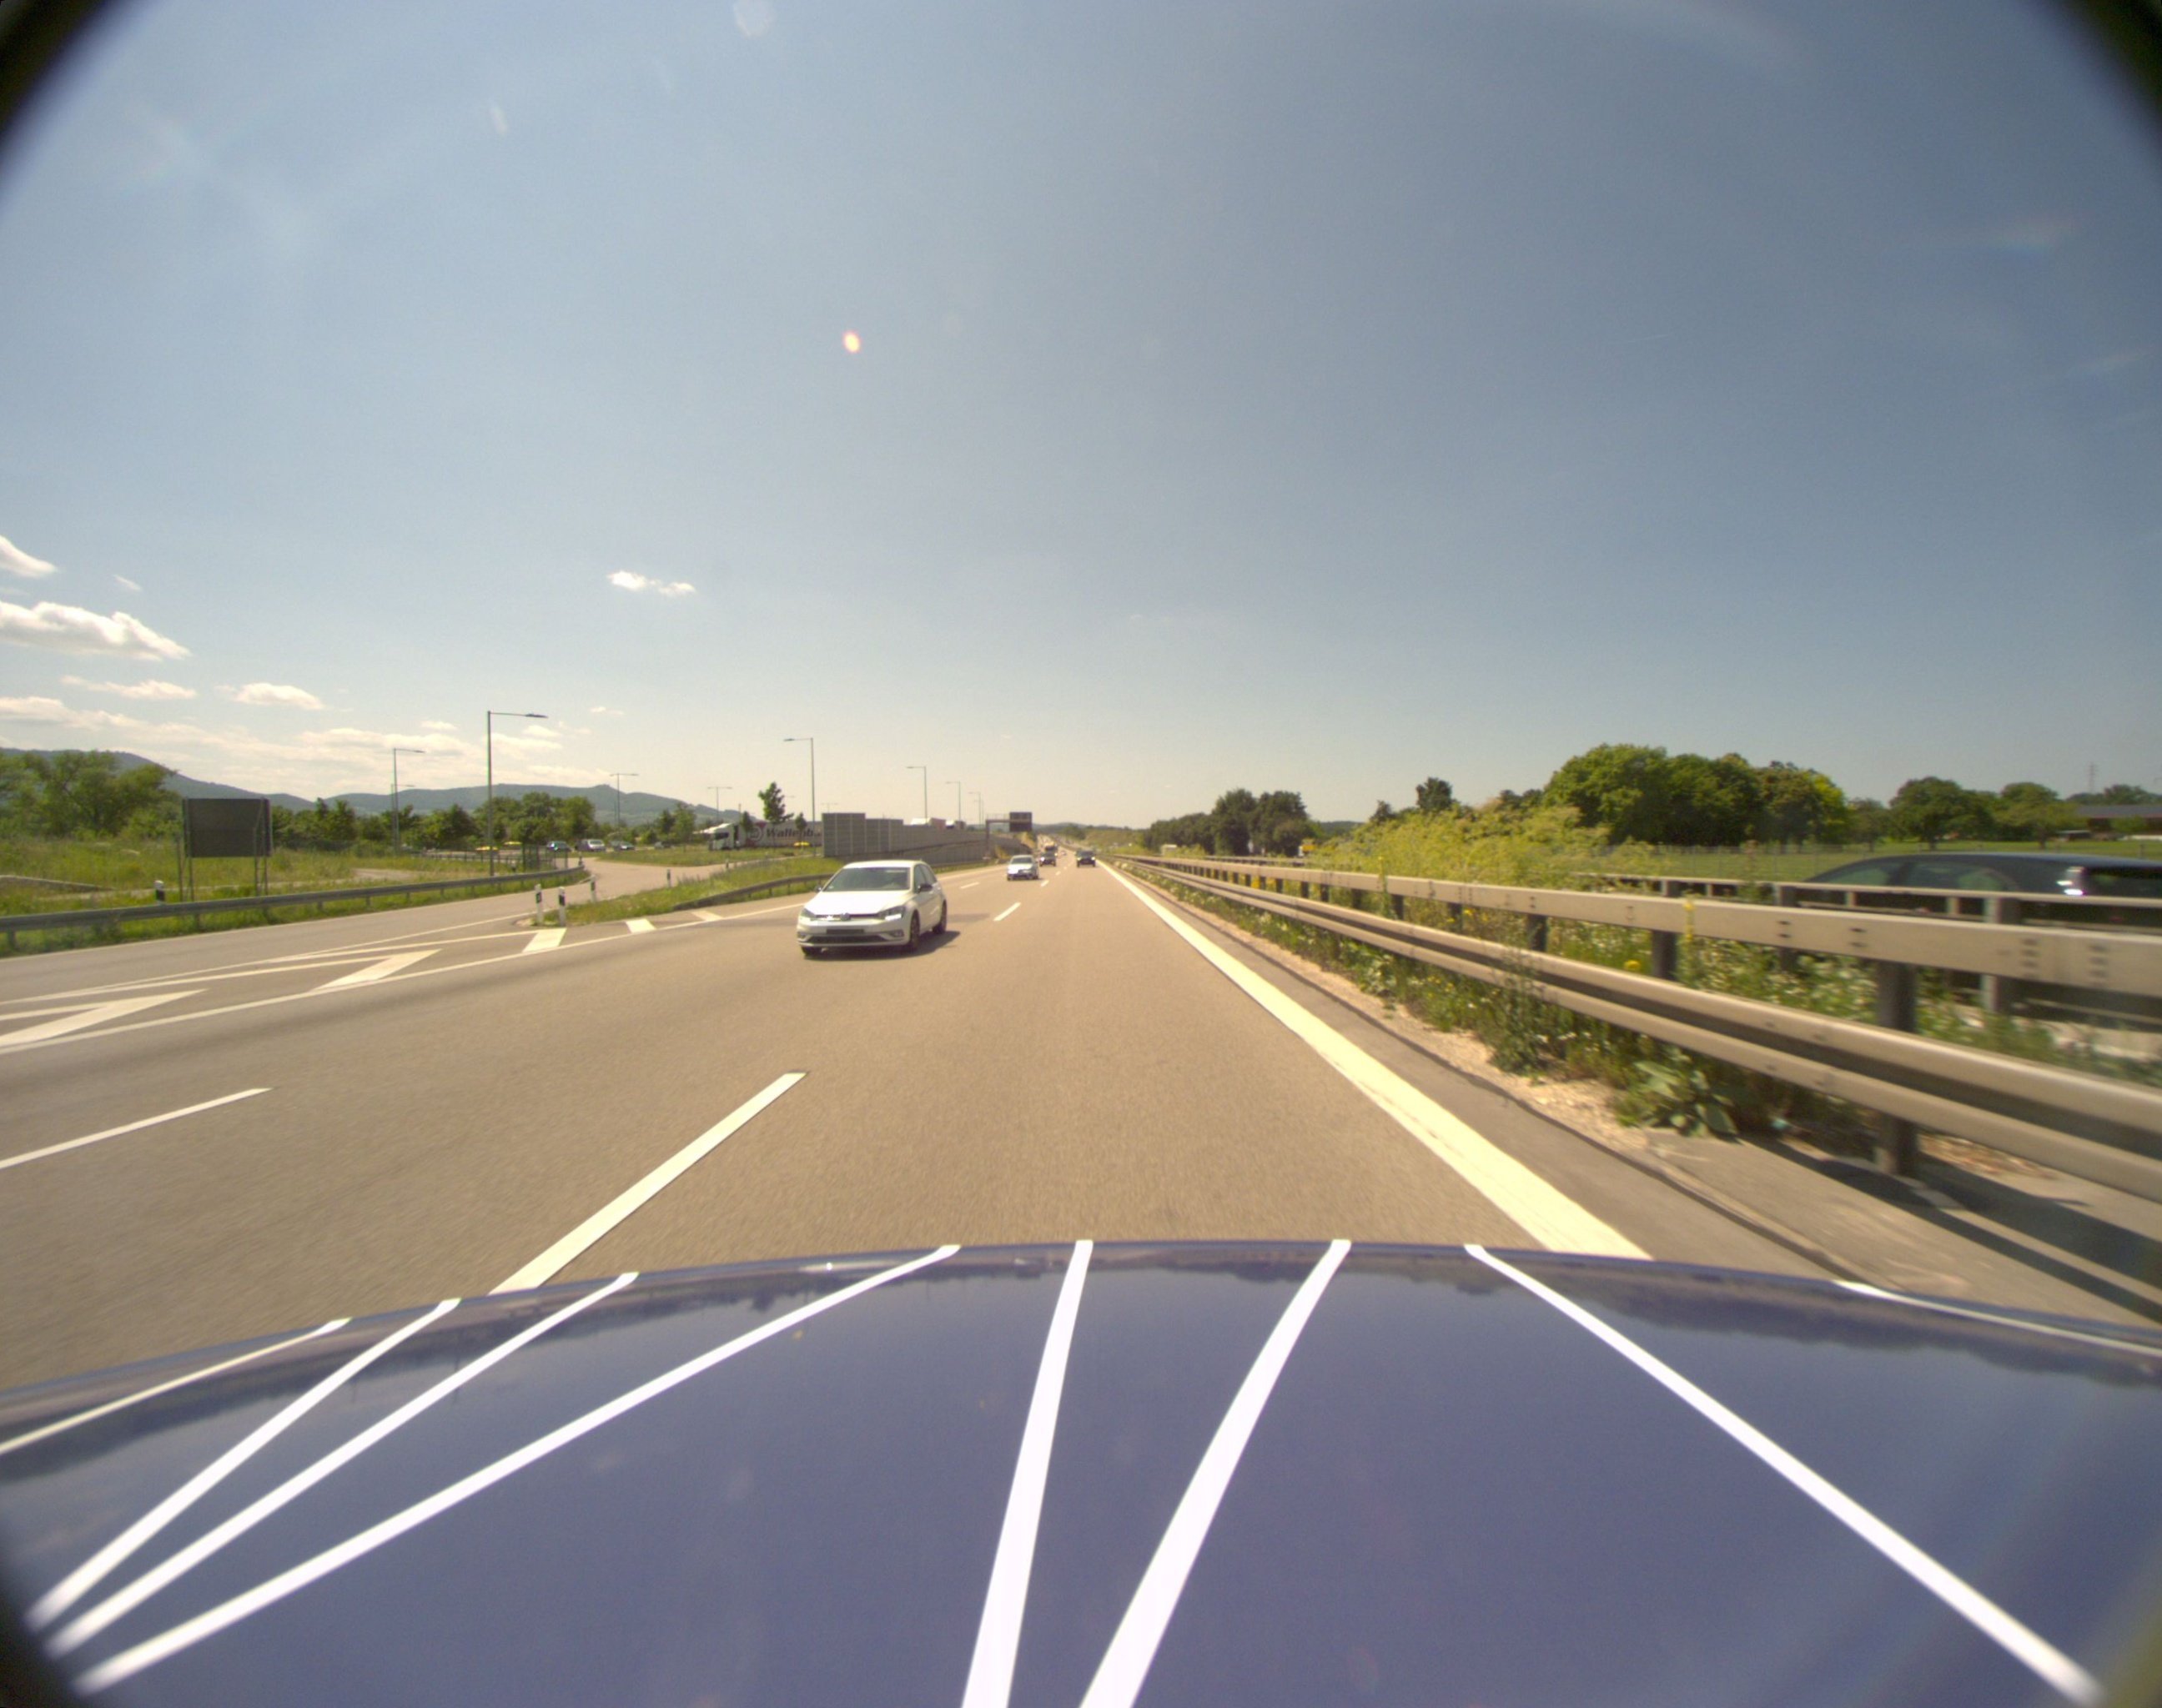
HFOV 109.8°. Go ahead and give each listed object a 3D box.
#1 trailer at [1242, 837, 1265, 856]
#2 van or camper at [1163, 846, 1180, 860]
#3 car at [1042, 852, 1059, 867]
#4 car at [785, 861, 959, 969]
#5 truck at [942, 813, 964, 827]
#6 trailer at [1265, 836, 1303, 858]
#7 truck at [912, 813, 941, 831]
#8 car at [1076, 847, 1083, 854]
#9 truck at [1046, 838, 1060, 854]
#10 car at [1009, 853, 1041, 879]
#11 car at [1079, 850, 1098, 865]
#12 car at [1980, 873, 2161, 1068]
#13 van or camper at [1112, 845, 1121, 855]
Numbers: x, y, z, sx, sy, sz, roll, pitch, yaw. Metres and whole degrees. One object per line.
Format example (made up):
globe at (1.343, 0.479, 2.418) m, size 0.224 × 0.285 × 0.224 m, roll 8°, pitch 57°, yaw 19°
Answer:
trailer at (35.905, -1.543, 158.379) m, size 2.552 × 3.641 × 8.711 m, roll -2°, pitch 1°, yaw -2°
van or camper at (18.308, -0.217, 153.433) m, size 2.542 × 2.521 × 6.707 m, roll -1°, pitch 2°, yaw 0°
car at (-3.416, 0.619, 85.665) m, size 1.751 × 1.559 × 3.999 m, roll -2°, pitch 1°, yaw -1°
car at (-3.473, 0.927, 13.617) m, size 1.780 × 1.425 × 4.690 m, roll -2°, pitch 1°, yaw 0°
truck at (-21.987, -5.838, 130.742) m, size 2.730 × 2.217 × 6.035 m, roll -2°, pitch 1°, yaw -1°
trailer at (36.607, -1.274, 137.649) m, size 2.775 × 3.757 × 14.408 m, roll -2°, pitch 1°, yaw 0°
truck at (-21.578, -4.461, 106.352) m, size 2.715 × 2.191 × 7.285 m, roll -2°, pitch 1°, yaw -1°
car at (-0.445, -0.938, 227.728) m, size 1.998 × 2.002 × 3.999 m, roll -2°, pitch 1°, yaw 0°
truck at (-7.446, -2.103, 201.252) m, size 3.368 × 4.037 × 11.732 m, roll -2°, pitch 1°, yaw -4°
car at (-3.266, 0.683, 44.736) m, size 1.634 × 1.381 × 3.999 m, roll -2°, pitch 1°, yaw -1°
car at (0.682, 0.350, 75.573) m, size 1.751 × 1.439 × 3.999 m, roll -1°, pitch 0°, yaw -1°
car at (8.838, 0.888, 4.602) m, size 1.682 × 1.400 × 4.202 m, roll 1°, pitch 0°, yaw -3°
van or camper at (12.344, -1.374, 264.257) m, size 2.530 × 3.249 × 7.373 m, roll 1°, pitch 1°, yaw 0°
